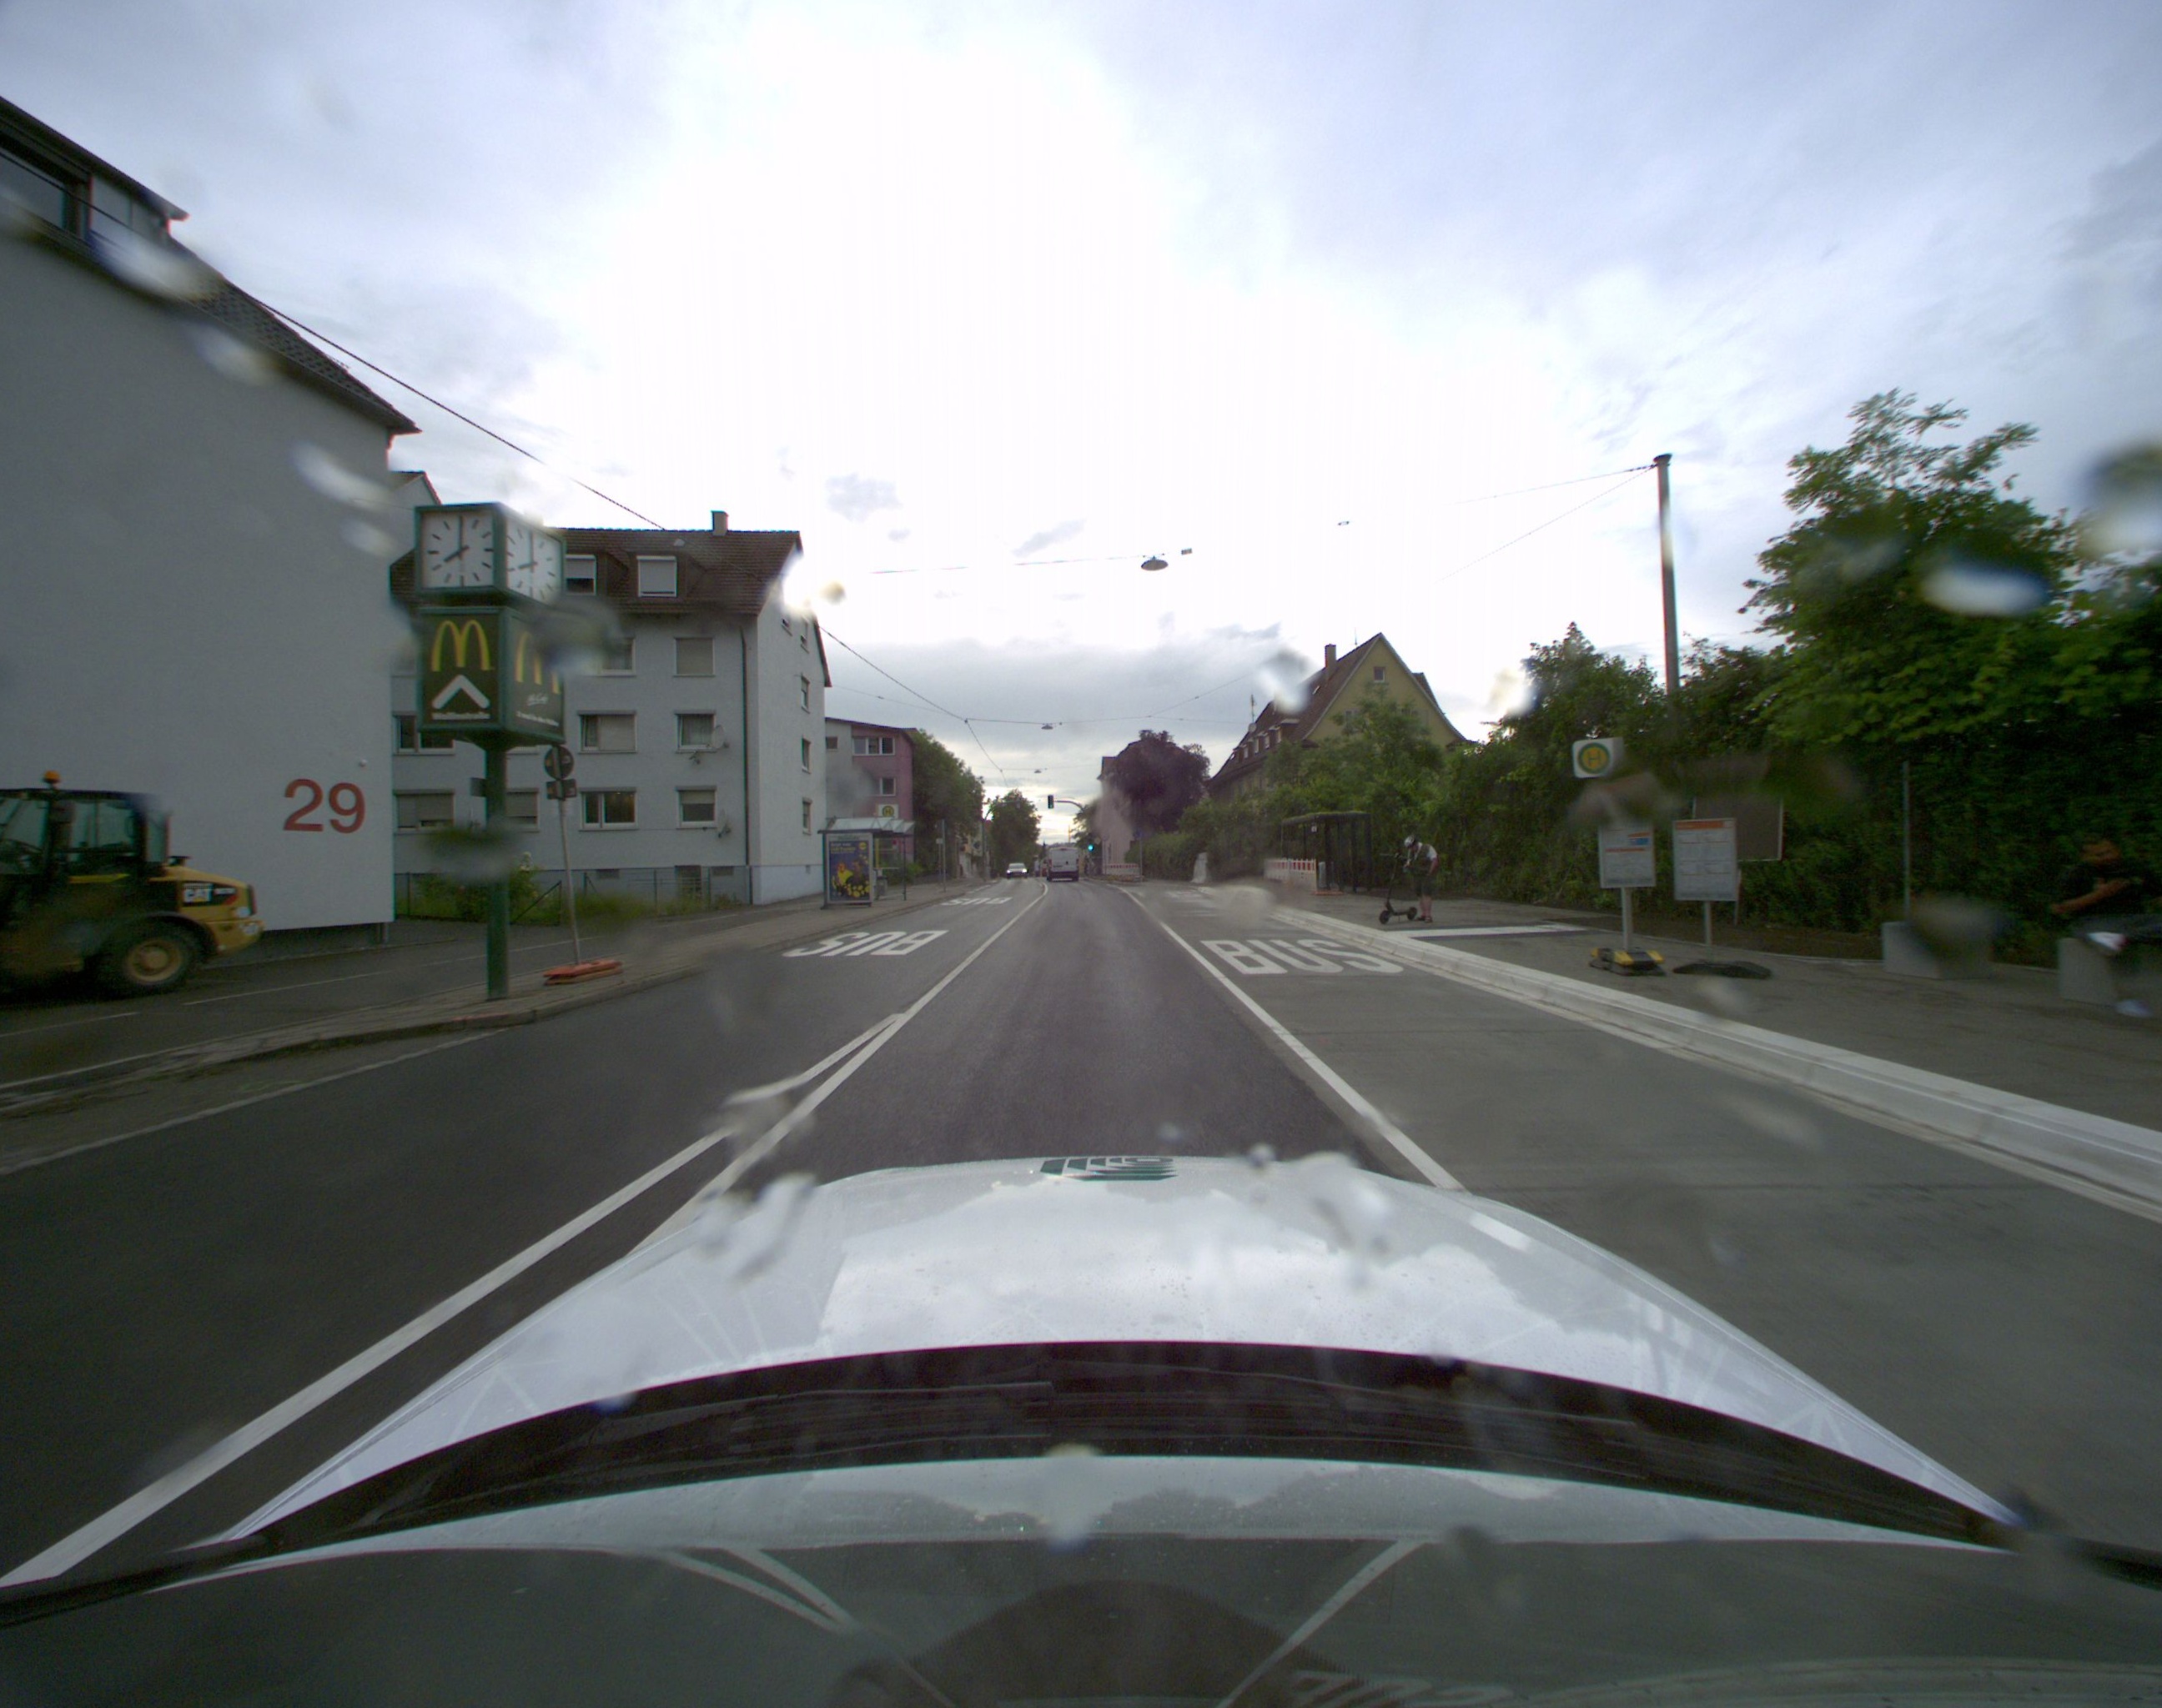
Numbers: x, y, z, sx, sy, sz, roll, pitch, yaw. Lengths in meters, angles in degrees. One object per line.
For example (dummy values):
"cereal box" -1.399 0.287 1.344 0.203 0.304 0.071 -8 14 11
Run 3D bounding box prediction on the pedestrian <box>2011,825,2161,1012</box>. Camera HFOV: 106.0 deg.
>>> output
"pedestrian" 7.946 0.457 6.344 1.073 1.329 0.801 -1 -1 -36

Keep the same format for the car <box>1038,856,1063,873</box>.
"car" -3.321 1.121 87.053 2.344 1.728 4.766 -1 -1 -6

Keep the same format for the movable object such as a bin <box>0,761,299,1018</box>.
"movable object such as a bin" -12.760 0.375 9.455 2.116 2.806 4.993 0 1 10

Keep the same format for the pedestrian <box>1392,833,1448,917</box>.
"pedestrian" 6.427 0.390 15.443 0.925 1.547 0.539 -1 -1 -36

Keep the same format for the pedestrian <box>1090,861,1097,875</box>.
"pedestrian" 1.488 1.684 98.303 0.660 1.741 0.826 -2 -2 -10

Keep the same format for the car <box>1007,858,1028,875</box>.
"car" -5.856 1.105 74.979 1.781 1.452 4.381 -1 0 -6

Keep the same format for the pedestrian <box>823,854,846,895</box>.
"pedestrian" -11.424 0.934 37.726 0.805 1.821 1.114 0 0 -6

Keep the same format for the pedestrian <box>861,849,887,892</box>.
"pedestrian" -9.263 0.740 36.491 0.859 1.882 1.043 -1 0 -2

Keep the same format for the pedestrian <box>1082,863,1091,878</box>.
"pedestrian" 0.659 1.937 93.831 0.639 1.710 0.741 -3 -2 -38

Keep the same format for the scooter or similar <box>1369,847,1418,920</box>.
"scooter or similar" 5.895 0.542 15.338 1.249 1.315 0.229 -1 -1 -39

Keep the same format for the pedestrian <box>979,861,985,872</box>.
"pedestrian" -15.426 1.913 126.779 0.814 1.680 0.990 0 -3 -7

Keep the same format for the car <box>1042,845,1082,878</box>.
"car" -1.400 0.545 56.326 2.344 2.160 4.766 -1 -1 -6
